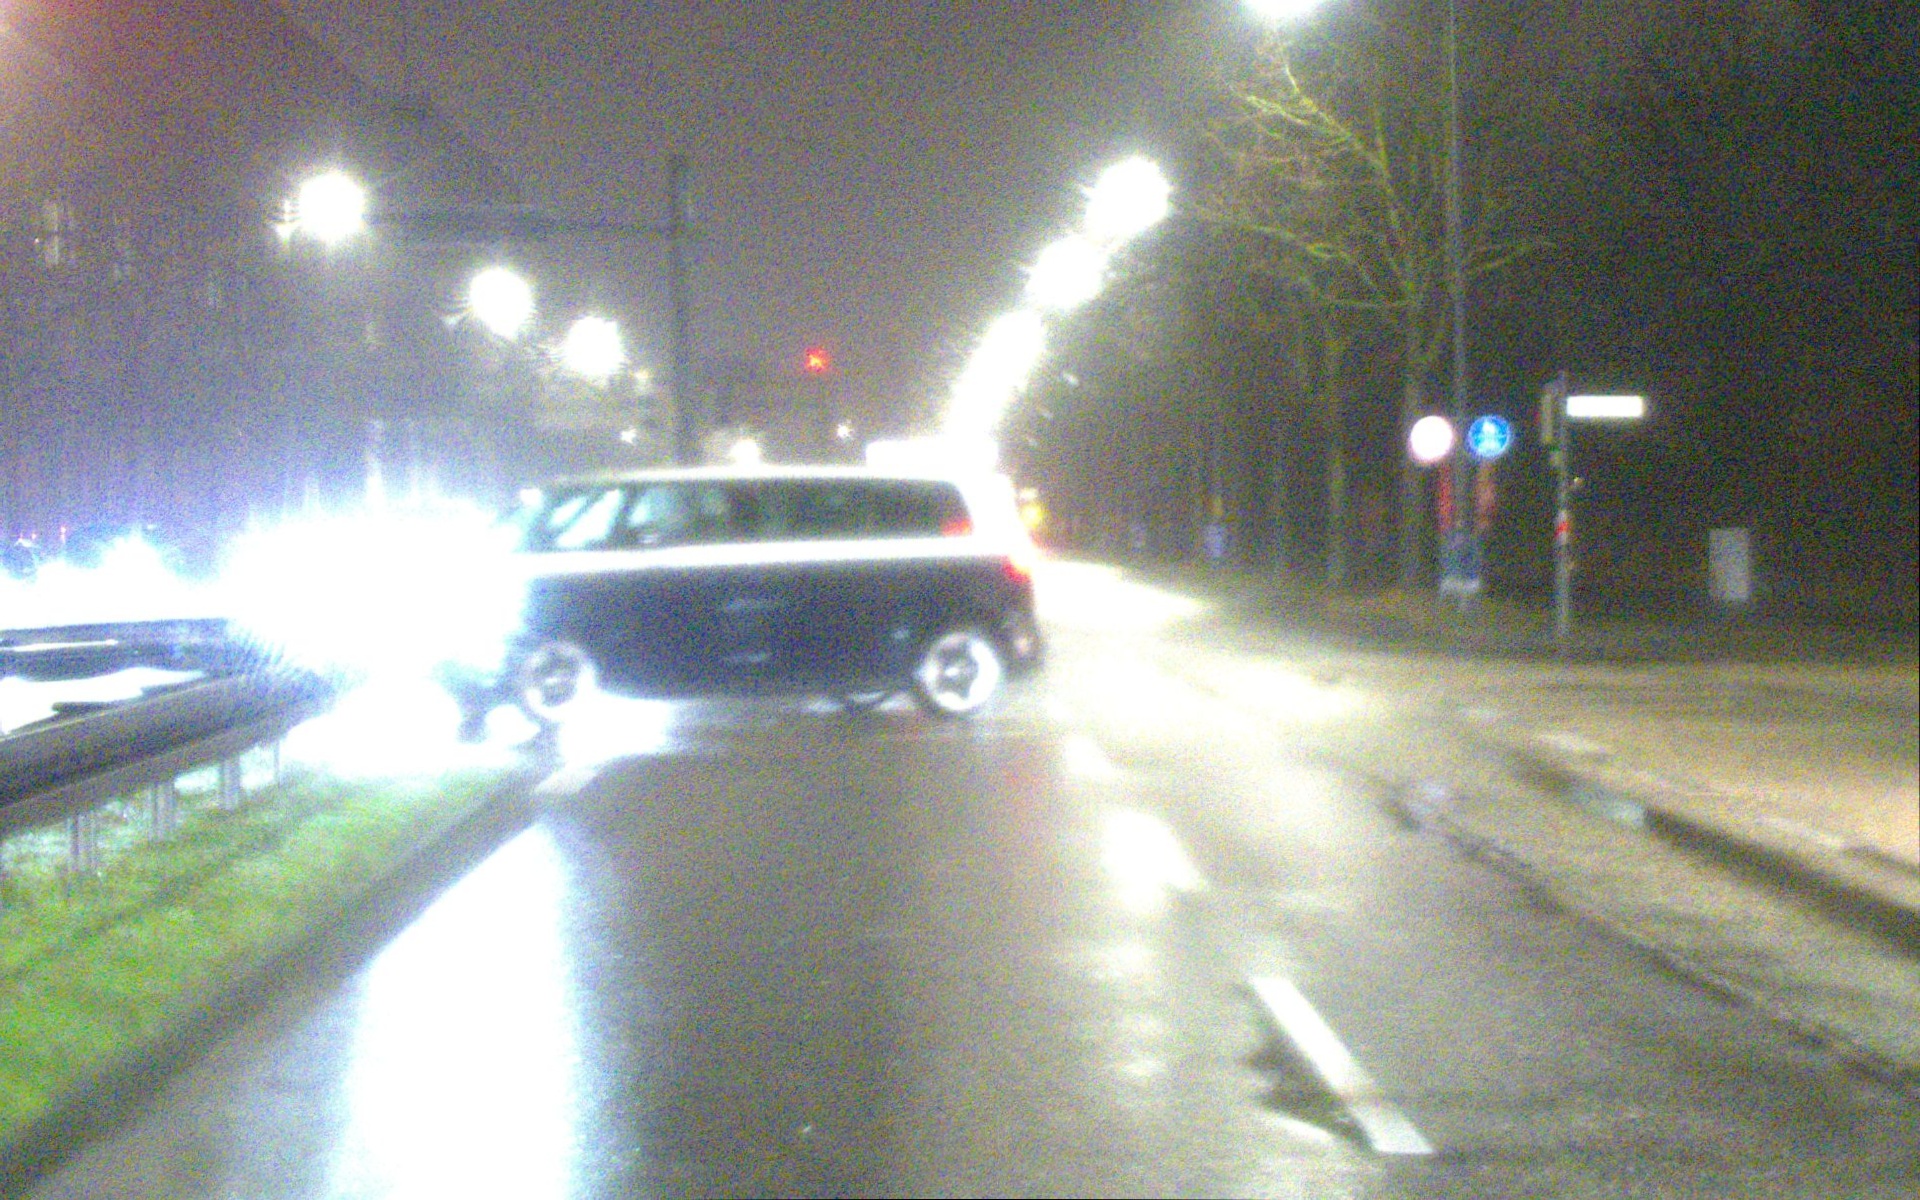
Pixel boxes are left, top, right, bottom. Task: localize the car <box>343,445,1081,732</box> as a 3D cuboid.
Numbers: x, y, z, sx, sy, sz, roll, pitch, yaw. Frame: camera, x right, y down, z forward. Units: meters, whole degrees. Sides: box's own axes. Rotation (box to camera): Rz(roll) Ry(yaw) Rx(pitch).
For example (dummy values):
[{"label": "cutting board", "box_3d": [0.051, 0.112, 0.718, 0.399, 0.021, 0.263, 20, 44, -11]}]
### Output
[{"label": "car", "box_3d": [-1.829, -0.135, 25.643, 5.092, 1.978, 2.000, -1, 1, -25]}]
